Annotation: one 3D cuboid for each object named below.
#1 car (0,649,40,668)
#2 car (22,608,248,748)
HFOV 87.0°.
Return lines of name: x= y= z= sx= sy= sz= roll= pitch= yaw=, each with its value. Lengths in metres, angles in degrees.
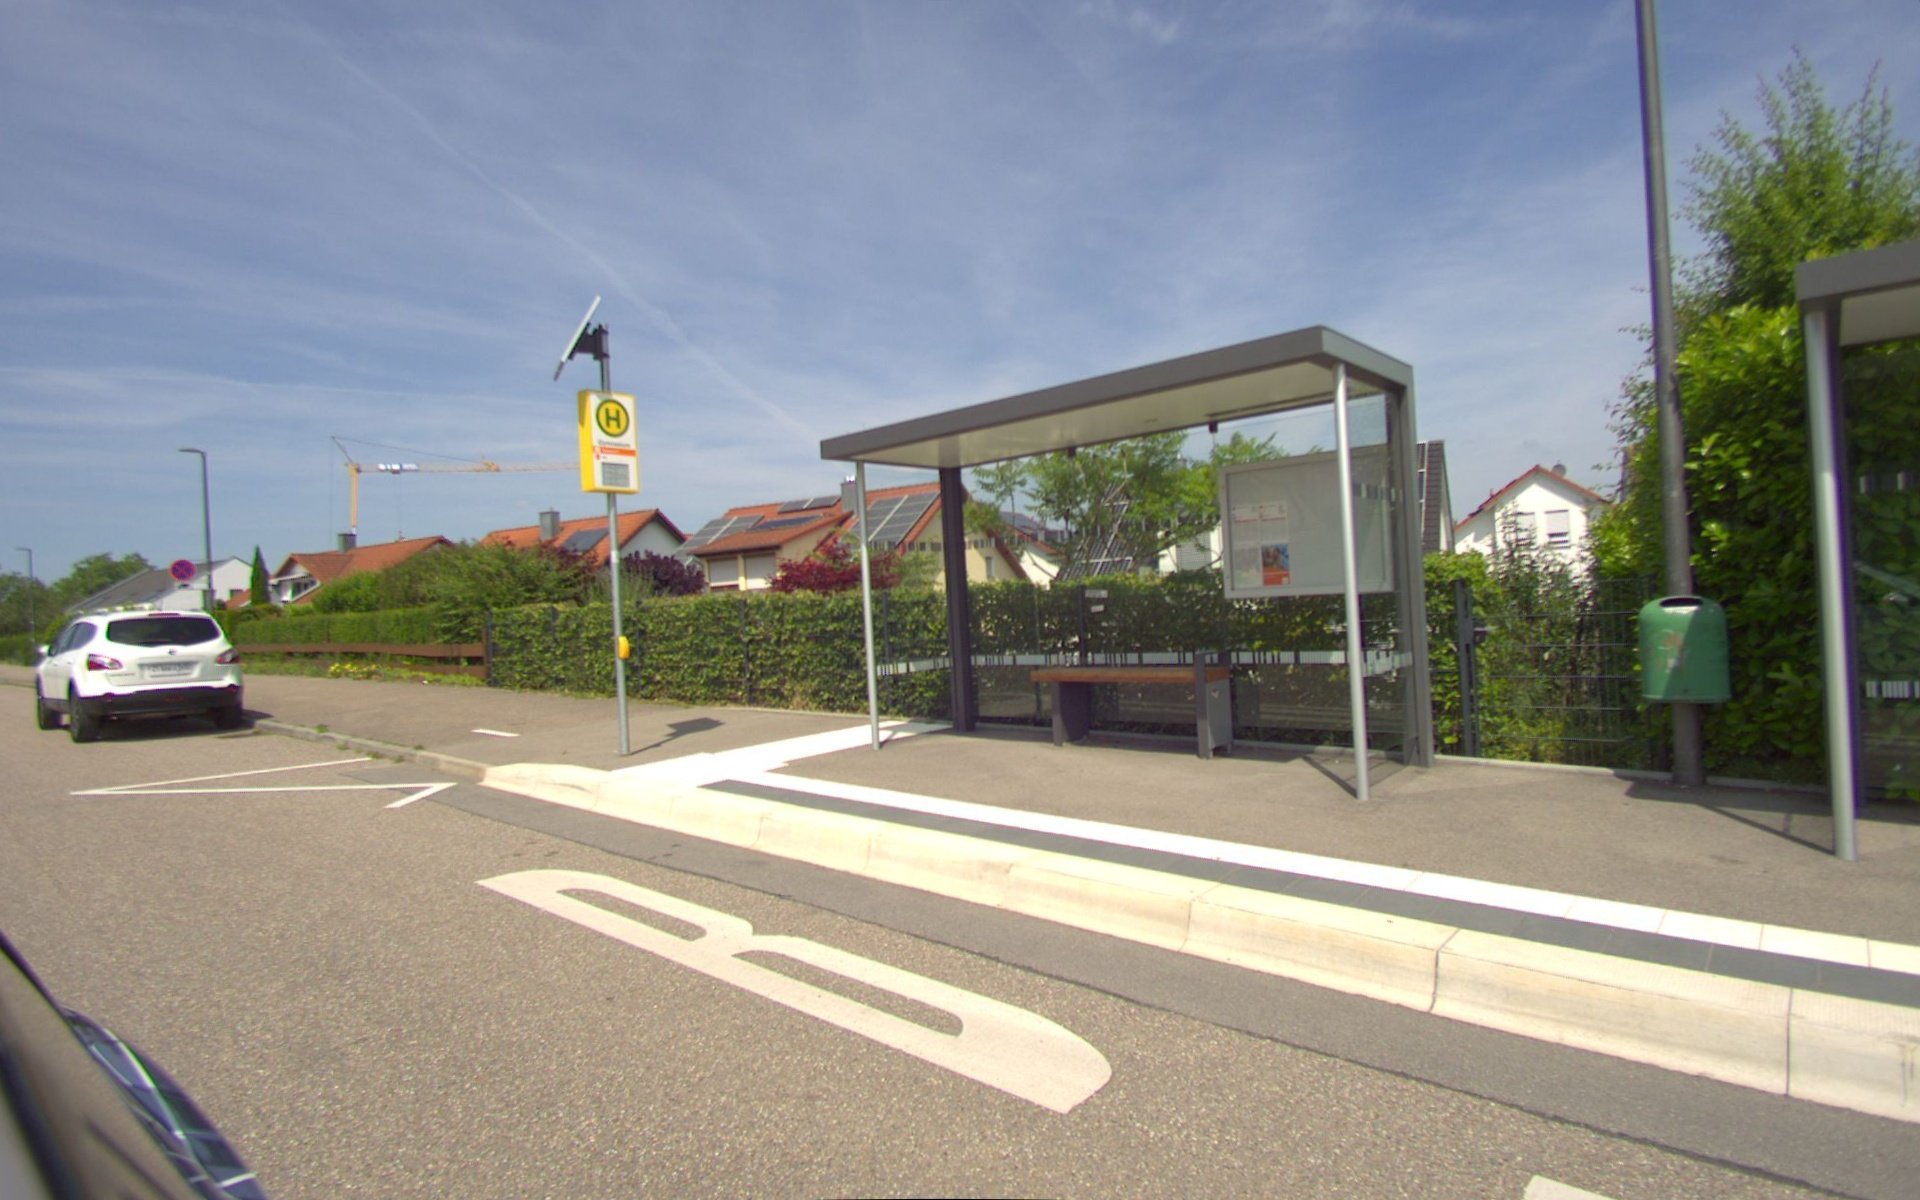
car: x=-78.300 y=4.846 z=83.191 sx=3.832 sy=1.331 sz=1.802 roll=-3 pitch=-1 yaw=-44
car: x=-11.649 y=1.001 z=14.185 sx=4.350 sy=1.645 sz=1.716 roll=-2 pitch=-1 yaw=41
